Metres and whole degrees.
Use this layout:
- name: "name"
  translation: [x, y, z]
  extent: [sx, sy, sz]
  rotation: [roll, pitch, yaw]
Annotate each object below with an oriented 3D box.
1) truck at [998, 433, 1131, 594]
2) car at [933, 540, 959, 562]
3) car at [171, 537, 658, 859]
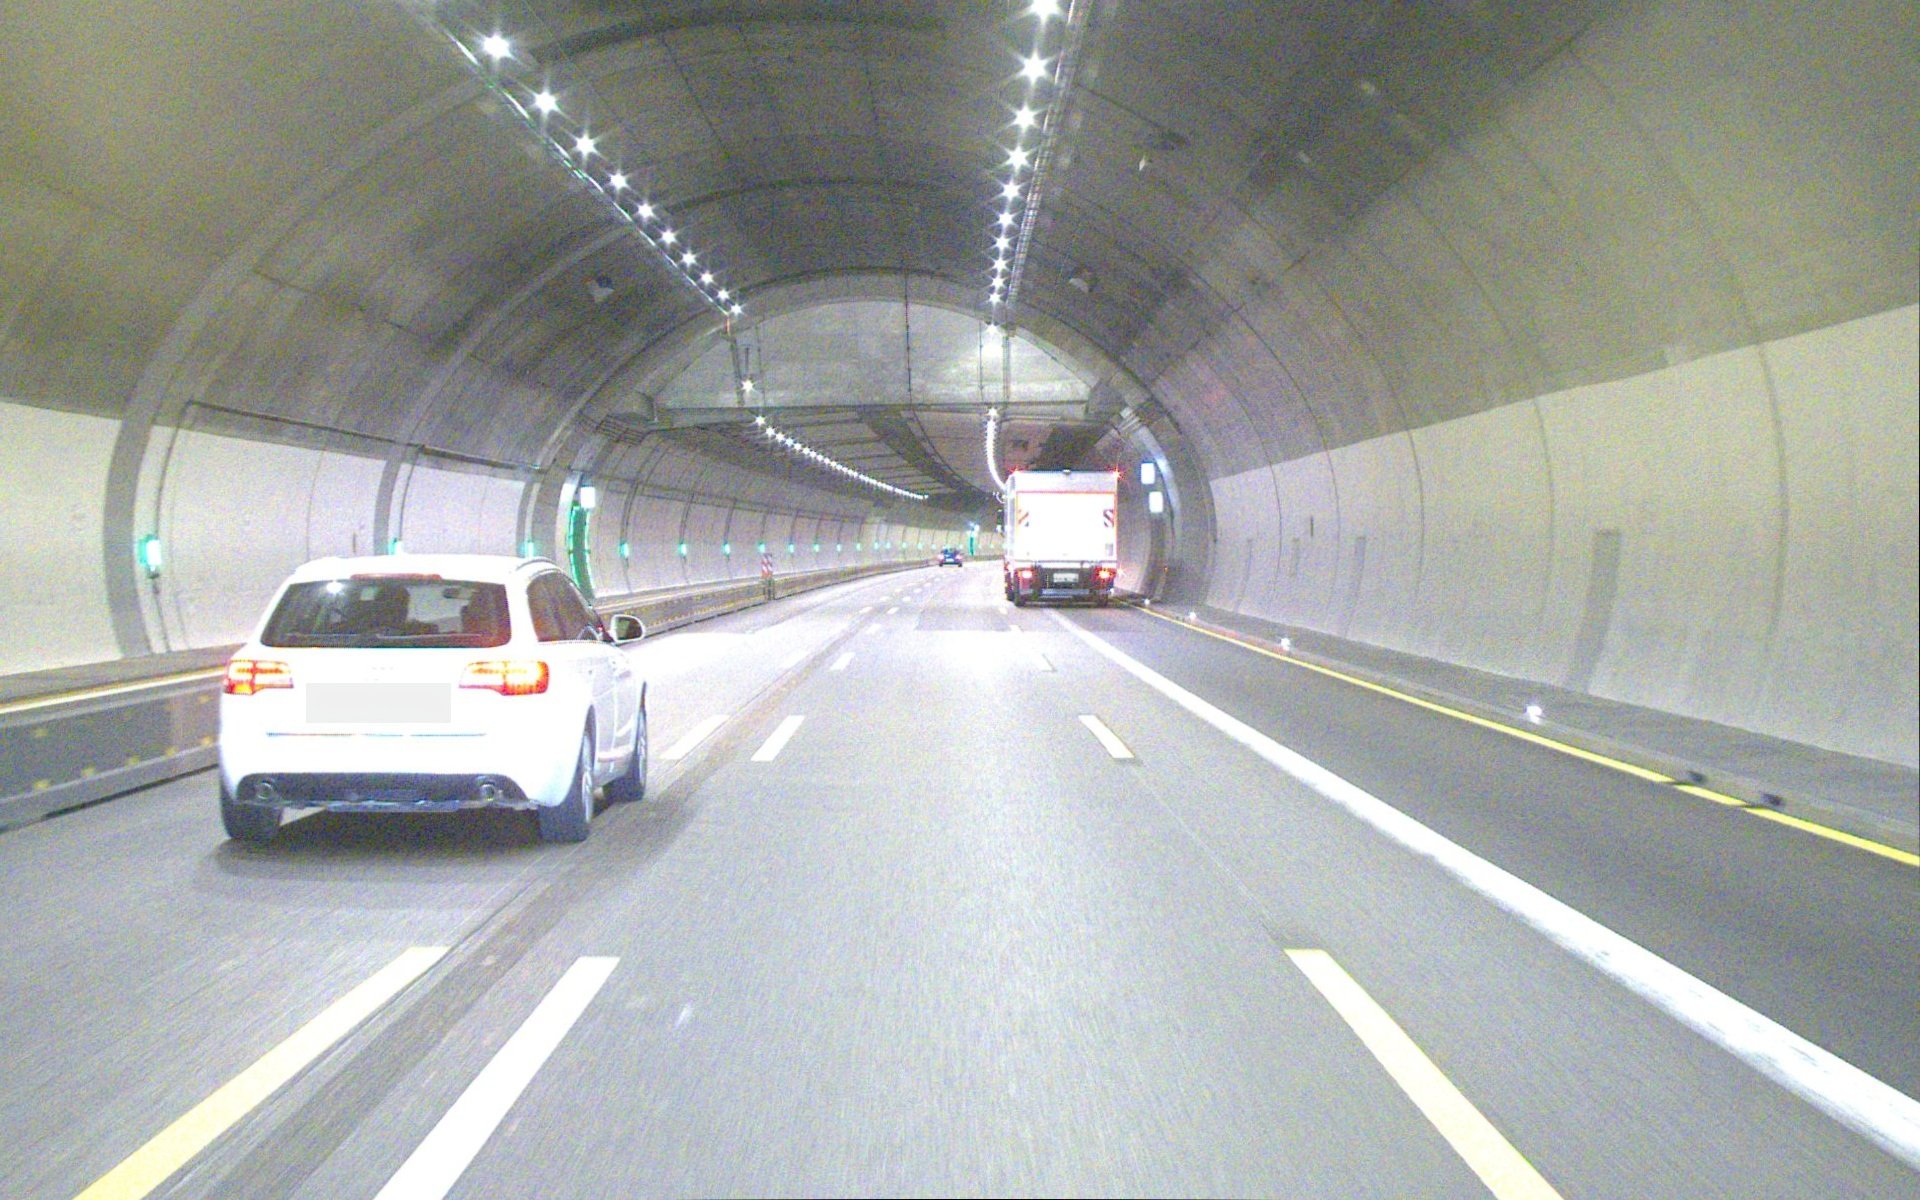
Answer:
- name: "truck"
  translation: [2.619, -2.144, 89.411]
  extent: [3.092, 3.904, 10.368]
  rotation: [-1, 0, 0]
- name: "car"
  translation: [-0.975, -3.480, 241.577]
  extent: [1.758, 1.456, 4.119]
  rotation: [-1, 2, 0]
- name: "car"
  translation: [-2.769, 0.429, 18.548]
  extent: [1.903, 1.479, 4.944]
  rotation: [1, 1, -1]
